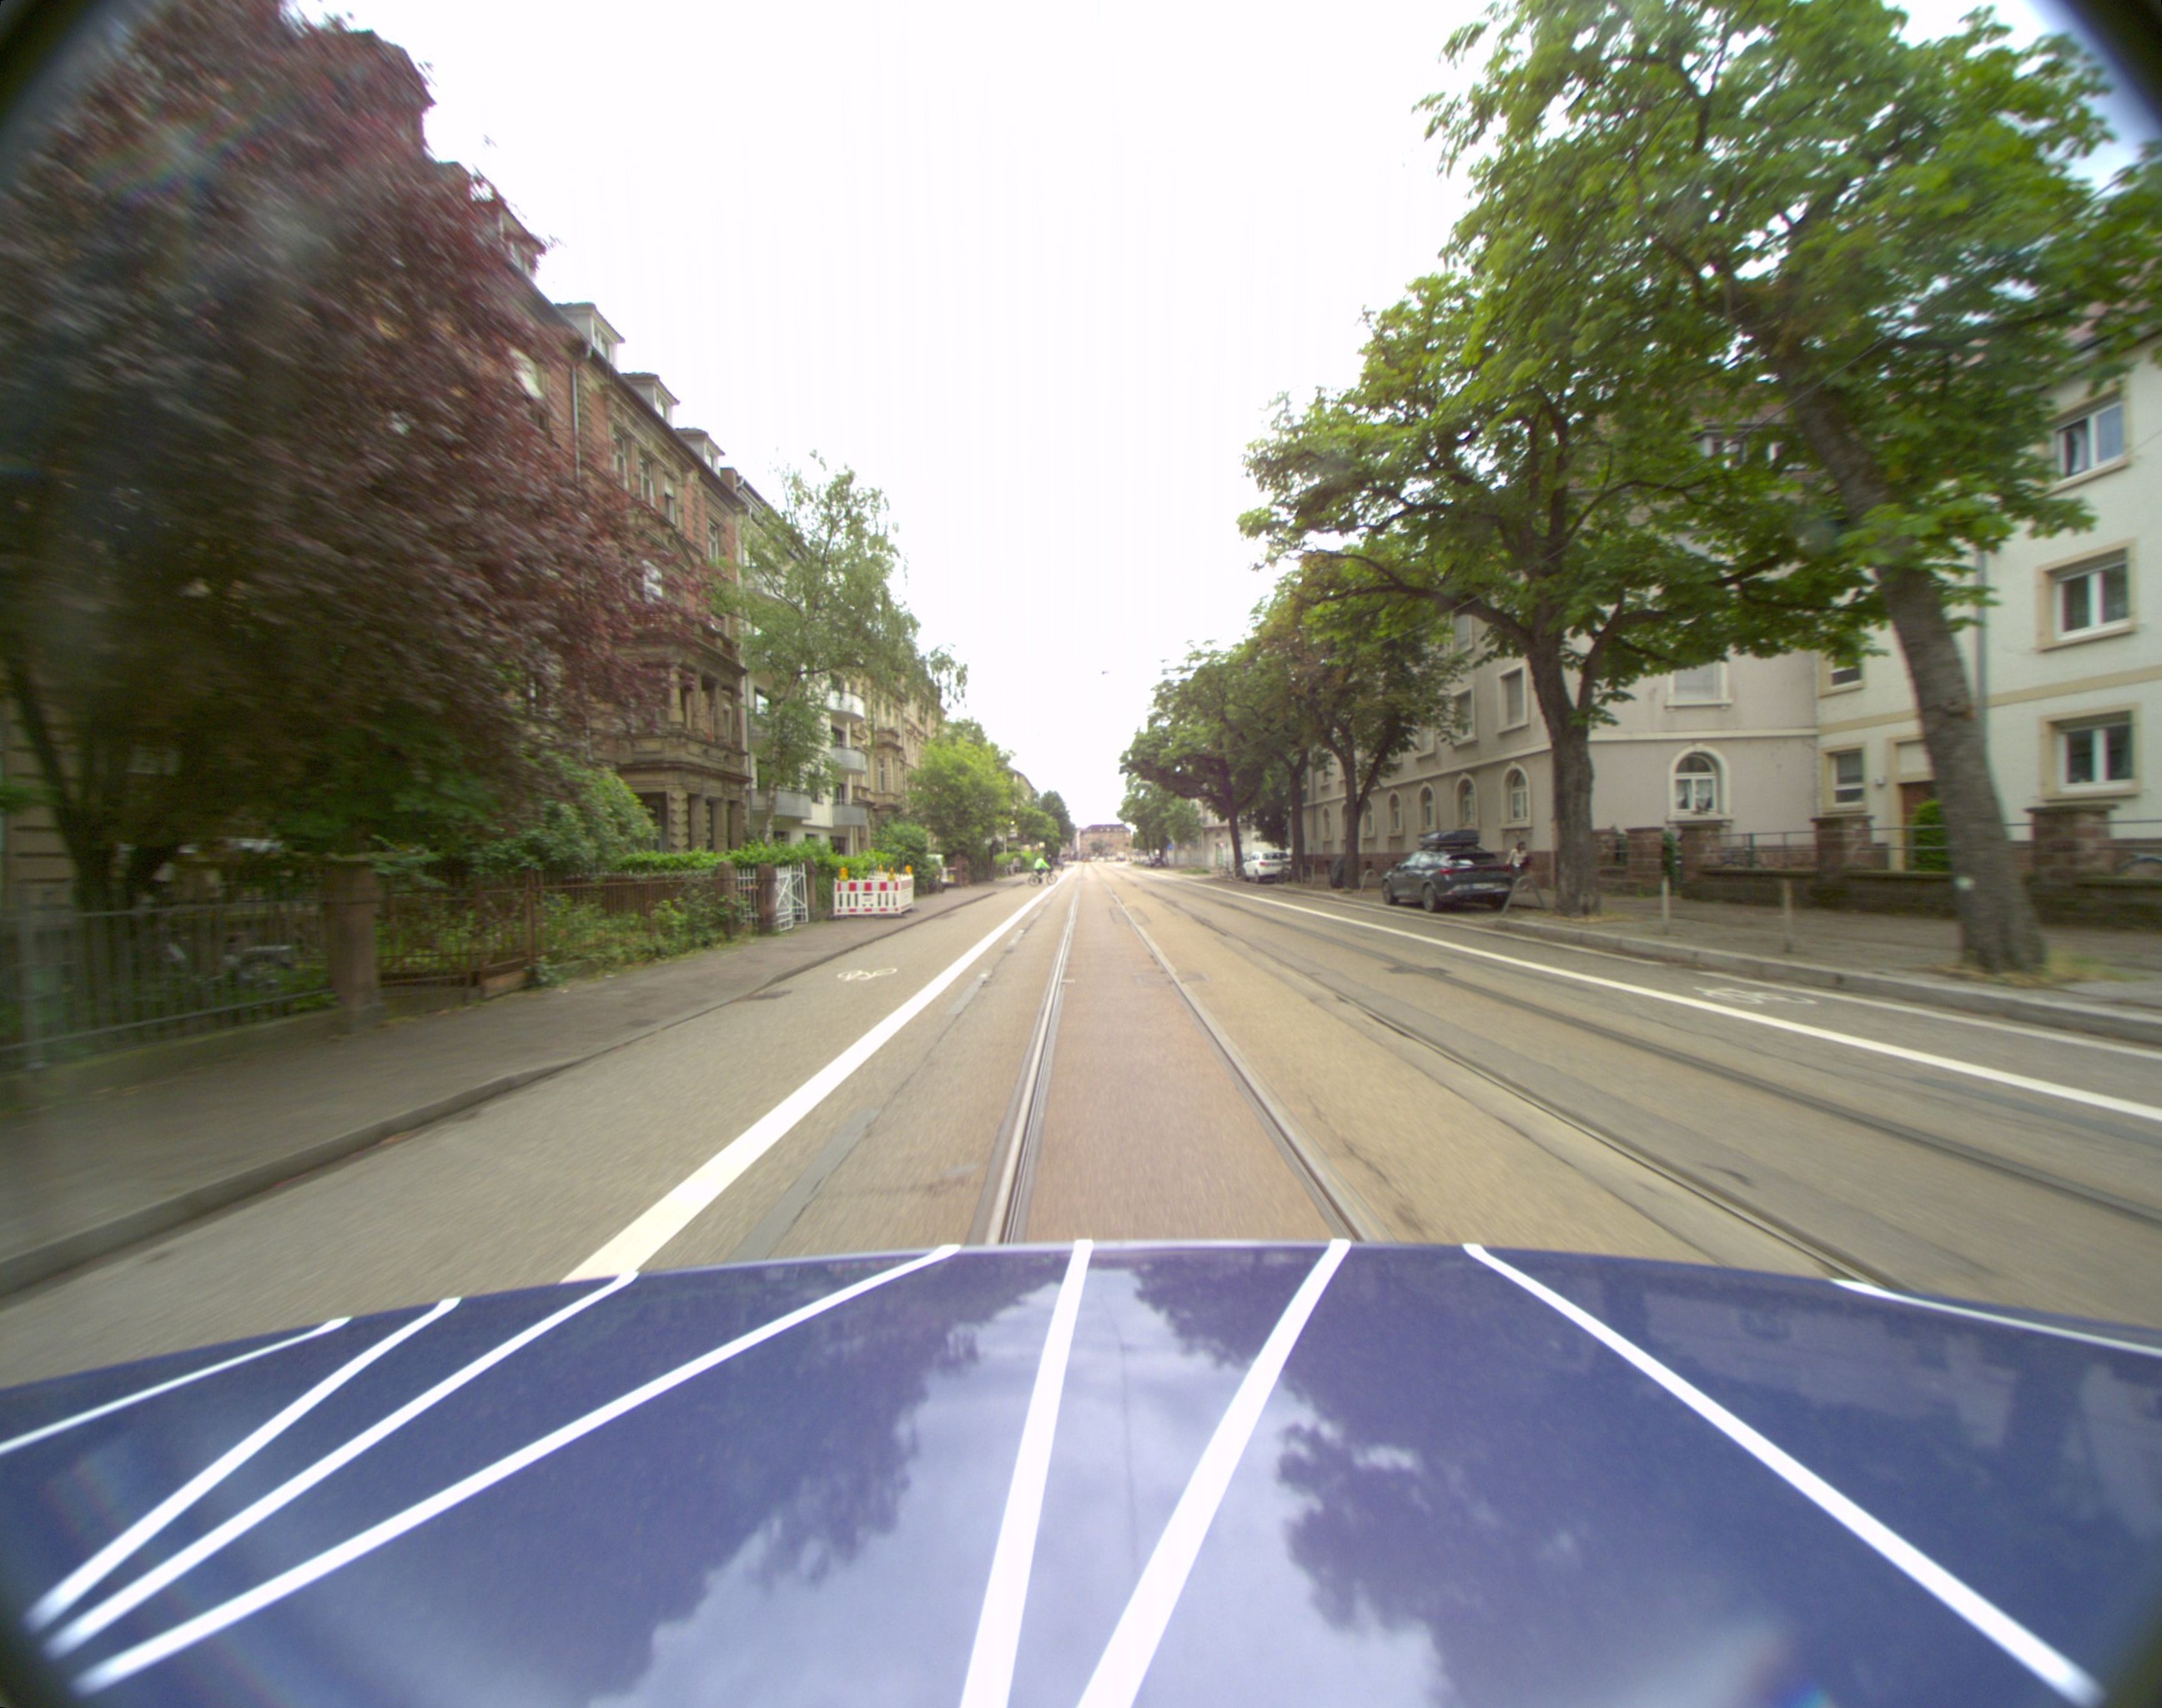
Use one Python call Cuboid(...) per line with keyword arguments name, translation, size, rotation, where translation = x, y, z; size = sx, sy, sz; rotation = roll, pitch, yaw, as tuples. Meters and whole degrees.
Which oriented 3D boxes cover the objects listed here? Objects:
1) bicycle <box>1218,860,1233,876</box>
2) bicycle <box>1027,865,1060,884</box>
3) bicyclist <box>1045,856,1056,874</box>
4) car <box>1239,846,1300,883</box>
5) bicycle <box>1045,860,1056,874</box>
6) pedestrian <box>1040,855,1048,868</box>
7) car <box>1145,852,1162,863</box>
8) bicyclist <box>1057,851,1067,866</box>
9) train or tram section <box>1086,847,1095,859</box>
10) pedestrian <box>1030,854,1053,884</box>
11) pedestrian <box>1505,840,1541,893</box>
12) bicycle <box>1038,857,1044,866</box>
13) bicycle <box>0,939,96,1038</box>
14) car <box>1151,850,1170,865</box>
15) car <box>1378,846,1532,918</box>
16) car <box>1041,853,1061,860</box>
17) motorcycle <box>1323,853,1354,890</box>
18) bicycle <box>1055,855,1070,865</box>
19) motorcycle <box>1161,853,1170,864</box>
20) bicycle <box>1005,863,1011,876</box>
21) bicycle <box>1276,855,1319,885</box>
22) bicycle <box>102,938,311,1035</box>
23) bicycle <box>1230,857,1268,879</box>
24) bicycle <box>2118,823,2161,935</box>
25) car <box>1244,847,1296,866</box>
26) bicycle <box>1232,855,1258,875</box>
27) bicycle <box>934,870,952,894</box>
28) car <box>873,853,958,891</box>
Cuboid(name="bicycle", translation=(8.963, 0.852, 47.059), size=(0.485, 0.952, 1.397), rotation=(-2, 0, -7))
Cuboid(name="bicycle", translation=(-2.167, 1.184, 44.271), size=(1.846, 1.069, 0.606), rotation=(1, 0, -1))
Cuboid(name="bicyclist", translation=(-3.169, 1.141, 79.954), size=(0.881, 1.811, 1.479), rotation=(-3, -1, 5))
Cuboid(name="car", translation=(9.406, 0.505, 38.191), size=(1.902, 1.646, 4.225), rotation=(-3, 0, -1))
Cuboid(name="bicycle", translation=(-3.193, 1.352, 79.890), size=(0.853, 1.234, 2.309), rotation=(-3, 2, 5))
Cuboid(name="pedestrian", translation=(-4.808, 0.996, 98.532), size=(0.794, 1.627, 0.837), rotation=(-1, 2, 12))
Cuboid(name="car", translation=(9.961, 0.459, 104.700), size=(1.816, 1.457, 4.614), rotation=(-3, 0, 0))
Cuboid(name="bicyclist", translation=(-2.244, 0.520, 88.935), size=(0.774, 1.681, 0.870), rotation=(-2, 0, 34))
Cuboid(name="train or tram section", translation=(3.004, -0.299, 244.447), size=(2.631, 3.659, 5.984), rotation=(-2, 0, -2))
Cuboid(name="pedestrian", translation=(-2.303, 0.879, 44.369), size=(1.232, 1.722, 1.018), rotation=(1, 0, 0))
Cuboid(name="pedestrian", translation=(12.487, 0.340, 21.459), size=(0.566, 1.459, 0.722), rotation=(-2, 1, 1))
Cuboid(name="bicycle", translation=(-4.946, 0.929, 93.671), size=(0.634, 1.121, 1.812), rotation=(0, -1, 0))
Cuboid(name="bicycle", translation=(-11.075, 1.368, 7.521), size=(1.541, 0.885, 0.572), rotation=(-3, 1, -17))
Cuboid(name="car", translation=(10.066, 0.445, 96.460), size=(1.842, 1.651, 4.293), rotation=(-5, 0, 2))
Cuboid(name="car", translation=(9.091, 0.620, 18.907), size=(1.781, 1.502, 4.238), rotation=(-3, 0, 1))
Cuboid(name="car", translation=(-7.134, 0.690, 181.810), size=(4.330, 1.542, 1.747), rotation=(-2, 0, -22))
Cuboid(name="motorcycle", translation=(9.594, 0.622, 28.359), size=(0.865, 1.280, 2.324), rotation=(-3, 0, 14))
Cuboid(name="bicycle", translation=(-2.170, 0.703, 88.950), size=(0.774, 1.205, 1.872), rotation=(-2, 0, 34))
Cuboid(name="motorcycle", translation=(9.910, 0.571, 89.304), size=(0.541, 1.250, 2.141), rotation=(-2, 0, -6))
Cuboid(name="bicycle", translation=(-6.141, 1.267, 63.893), size=(0.302, 1.035, 1.848), rotation=(-2, 0, 0))
Cuboid(name="bicycle", translation=(9.458, 0.716, 33.239), size=(1.746, 1.184, 0.654), rotation=(-4, -5, 15))
Cuboid(name="bicycle", translation=(-8.687, 1.304, 7.568), size=(1.619, 0.859, 0.555), rotation=(-1, 1, 8))
Cuboid(name="bicycle", translation=(9.365, 0.767, 42.487), size=(1.927, 1.114, 0.624), rotation=(-4, 1, 0))
Cuboid(name="bicycle", translation=(13.580, 0.296, 8.585), size=(0.794, 1.374, 2.141), rotation=(-2, 0, 1))
Cuboid(name="car", translation=(18.376, 0.261, 73.867), size=(4.505, 1.653, 1.942), rotation=(-2, 0, 26))
Cuboid(name="bicycle", translation=(10.059, 0.687, 46.688), size=(0.677, 1.129, 1.934), rotation=(-2, -1, -16))
Cuboid(name="bicycle", translation=(-6.406, 1.277, 35.345), size=(0.480, 1.039, 1.531), rotation=(-2, 0, 1))
Cuboid(name="car", translation=(-8.679, 0.932, 40.027), size=(3.997, 1.847, 1.809), rotation=(-1, 0, 1))
